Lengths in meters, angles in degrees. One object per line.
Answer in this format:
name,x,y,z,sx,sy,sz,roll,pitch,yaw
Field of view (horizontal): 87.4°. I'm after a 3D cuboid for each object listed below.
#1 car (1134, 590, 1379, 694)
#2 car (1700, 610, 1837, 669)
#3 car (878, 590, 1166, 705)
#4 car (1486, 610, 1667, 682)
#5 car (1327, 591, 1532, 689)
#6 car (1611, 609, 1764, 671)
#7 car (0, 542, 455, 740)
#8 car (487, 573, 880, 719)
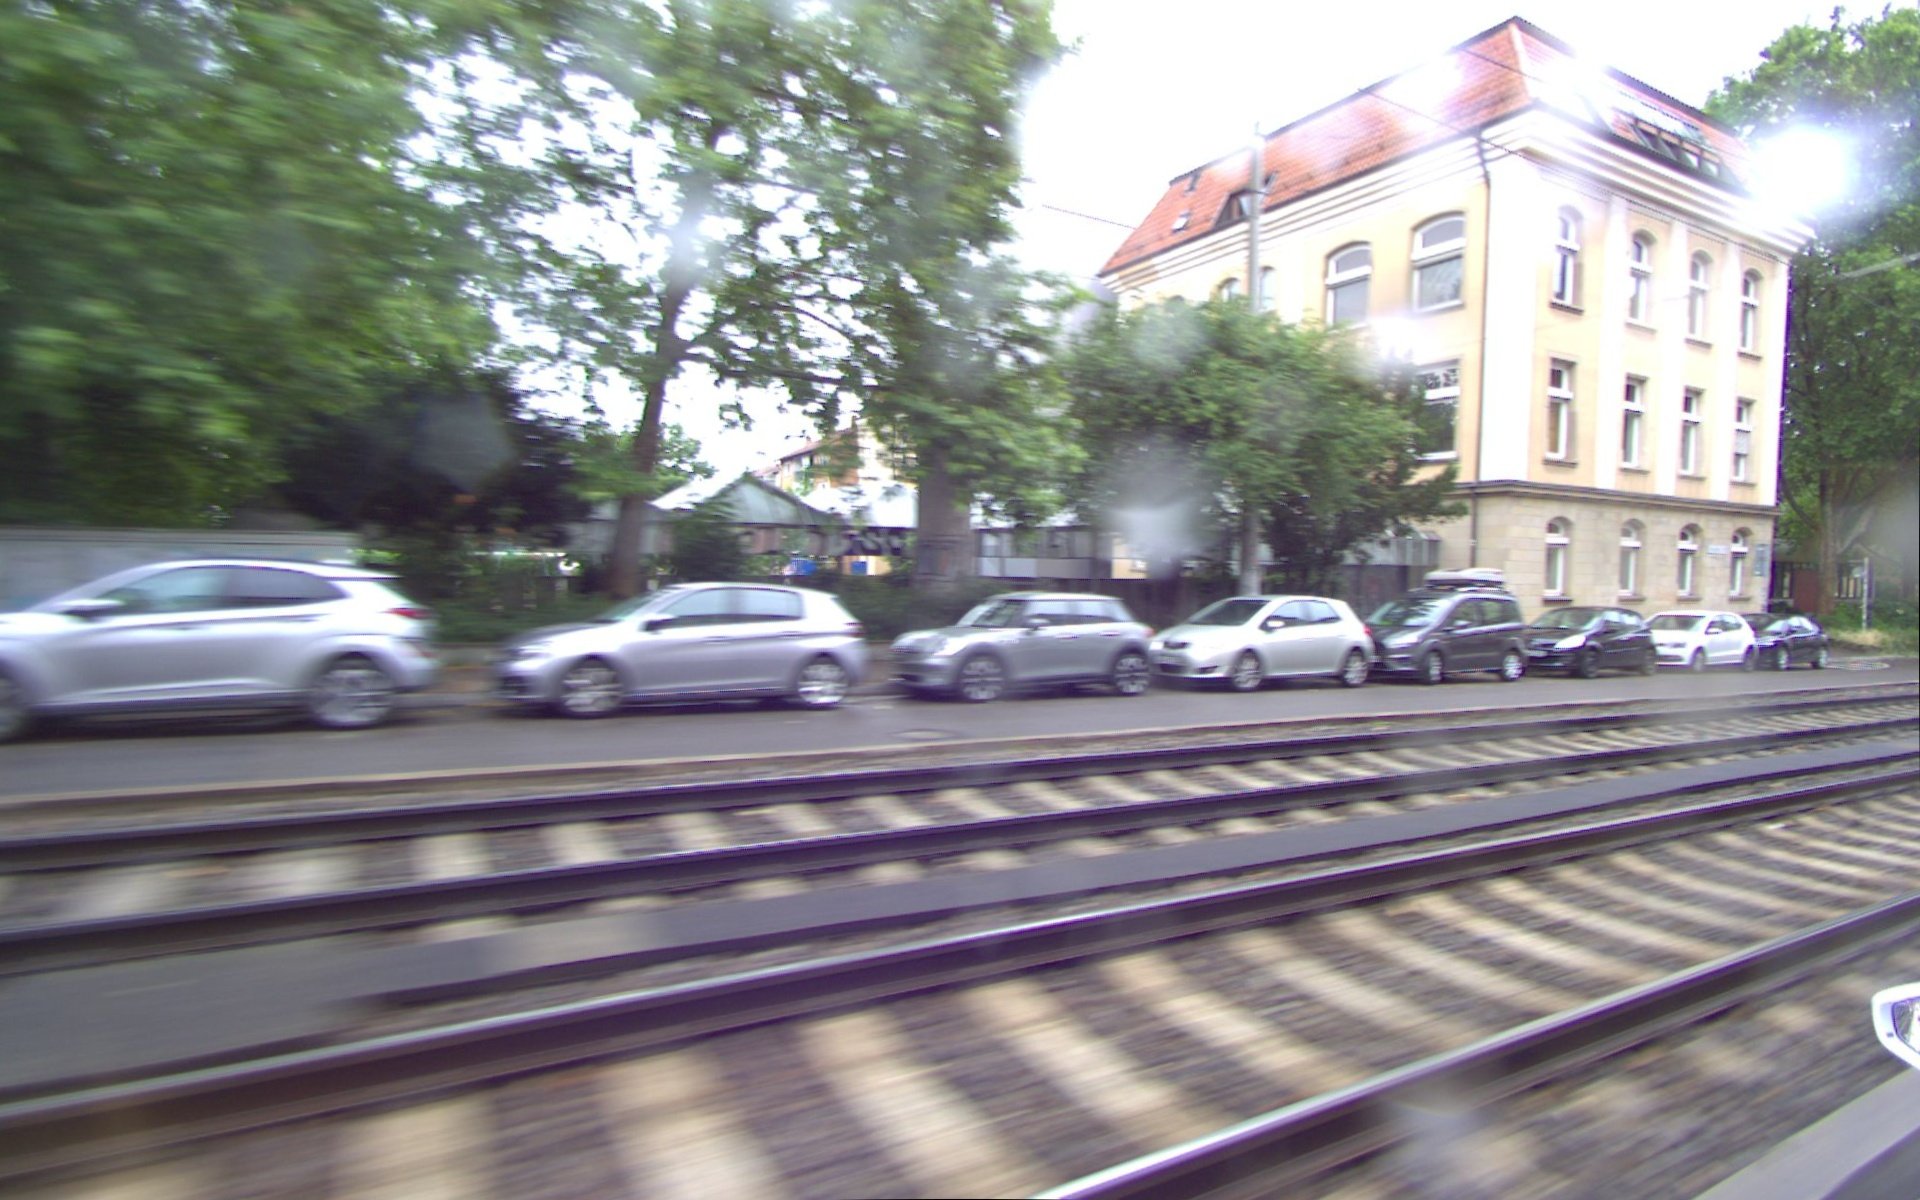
car,4.933,0.673,16.543,4.107,1.525,1.531,2,-1,-32
car,21.382,1.013,26.531,3.808,1.448,1.606,1,0,-31
car,0.934,0.651,14.194,3.908,1.432,1.531,2,-1,-32
car,13.350,0.971,21.716,3.962,1.432,1.667,1,-1,-30
car,8.876,0.742,18.906,4.026,1.665,1.568,1,-1,-32
car,17.540,0.954,24.178,3.939,1.409,1.493,1,-1,-30
car,-7.195,0.358,9.164,4.491,1.556,1.745,2,-1,-32
car,-3.155,0.515,11.703,4.107,1.432,1.745,2,-1,-32
